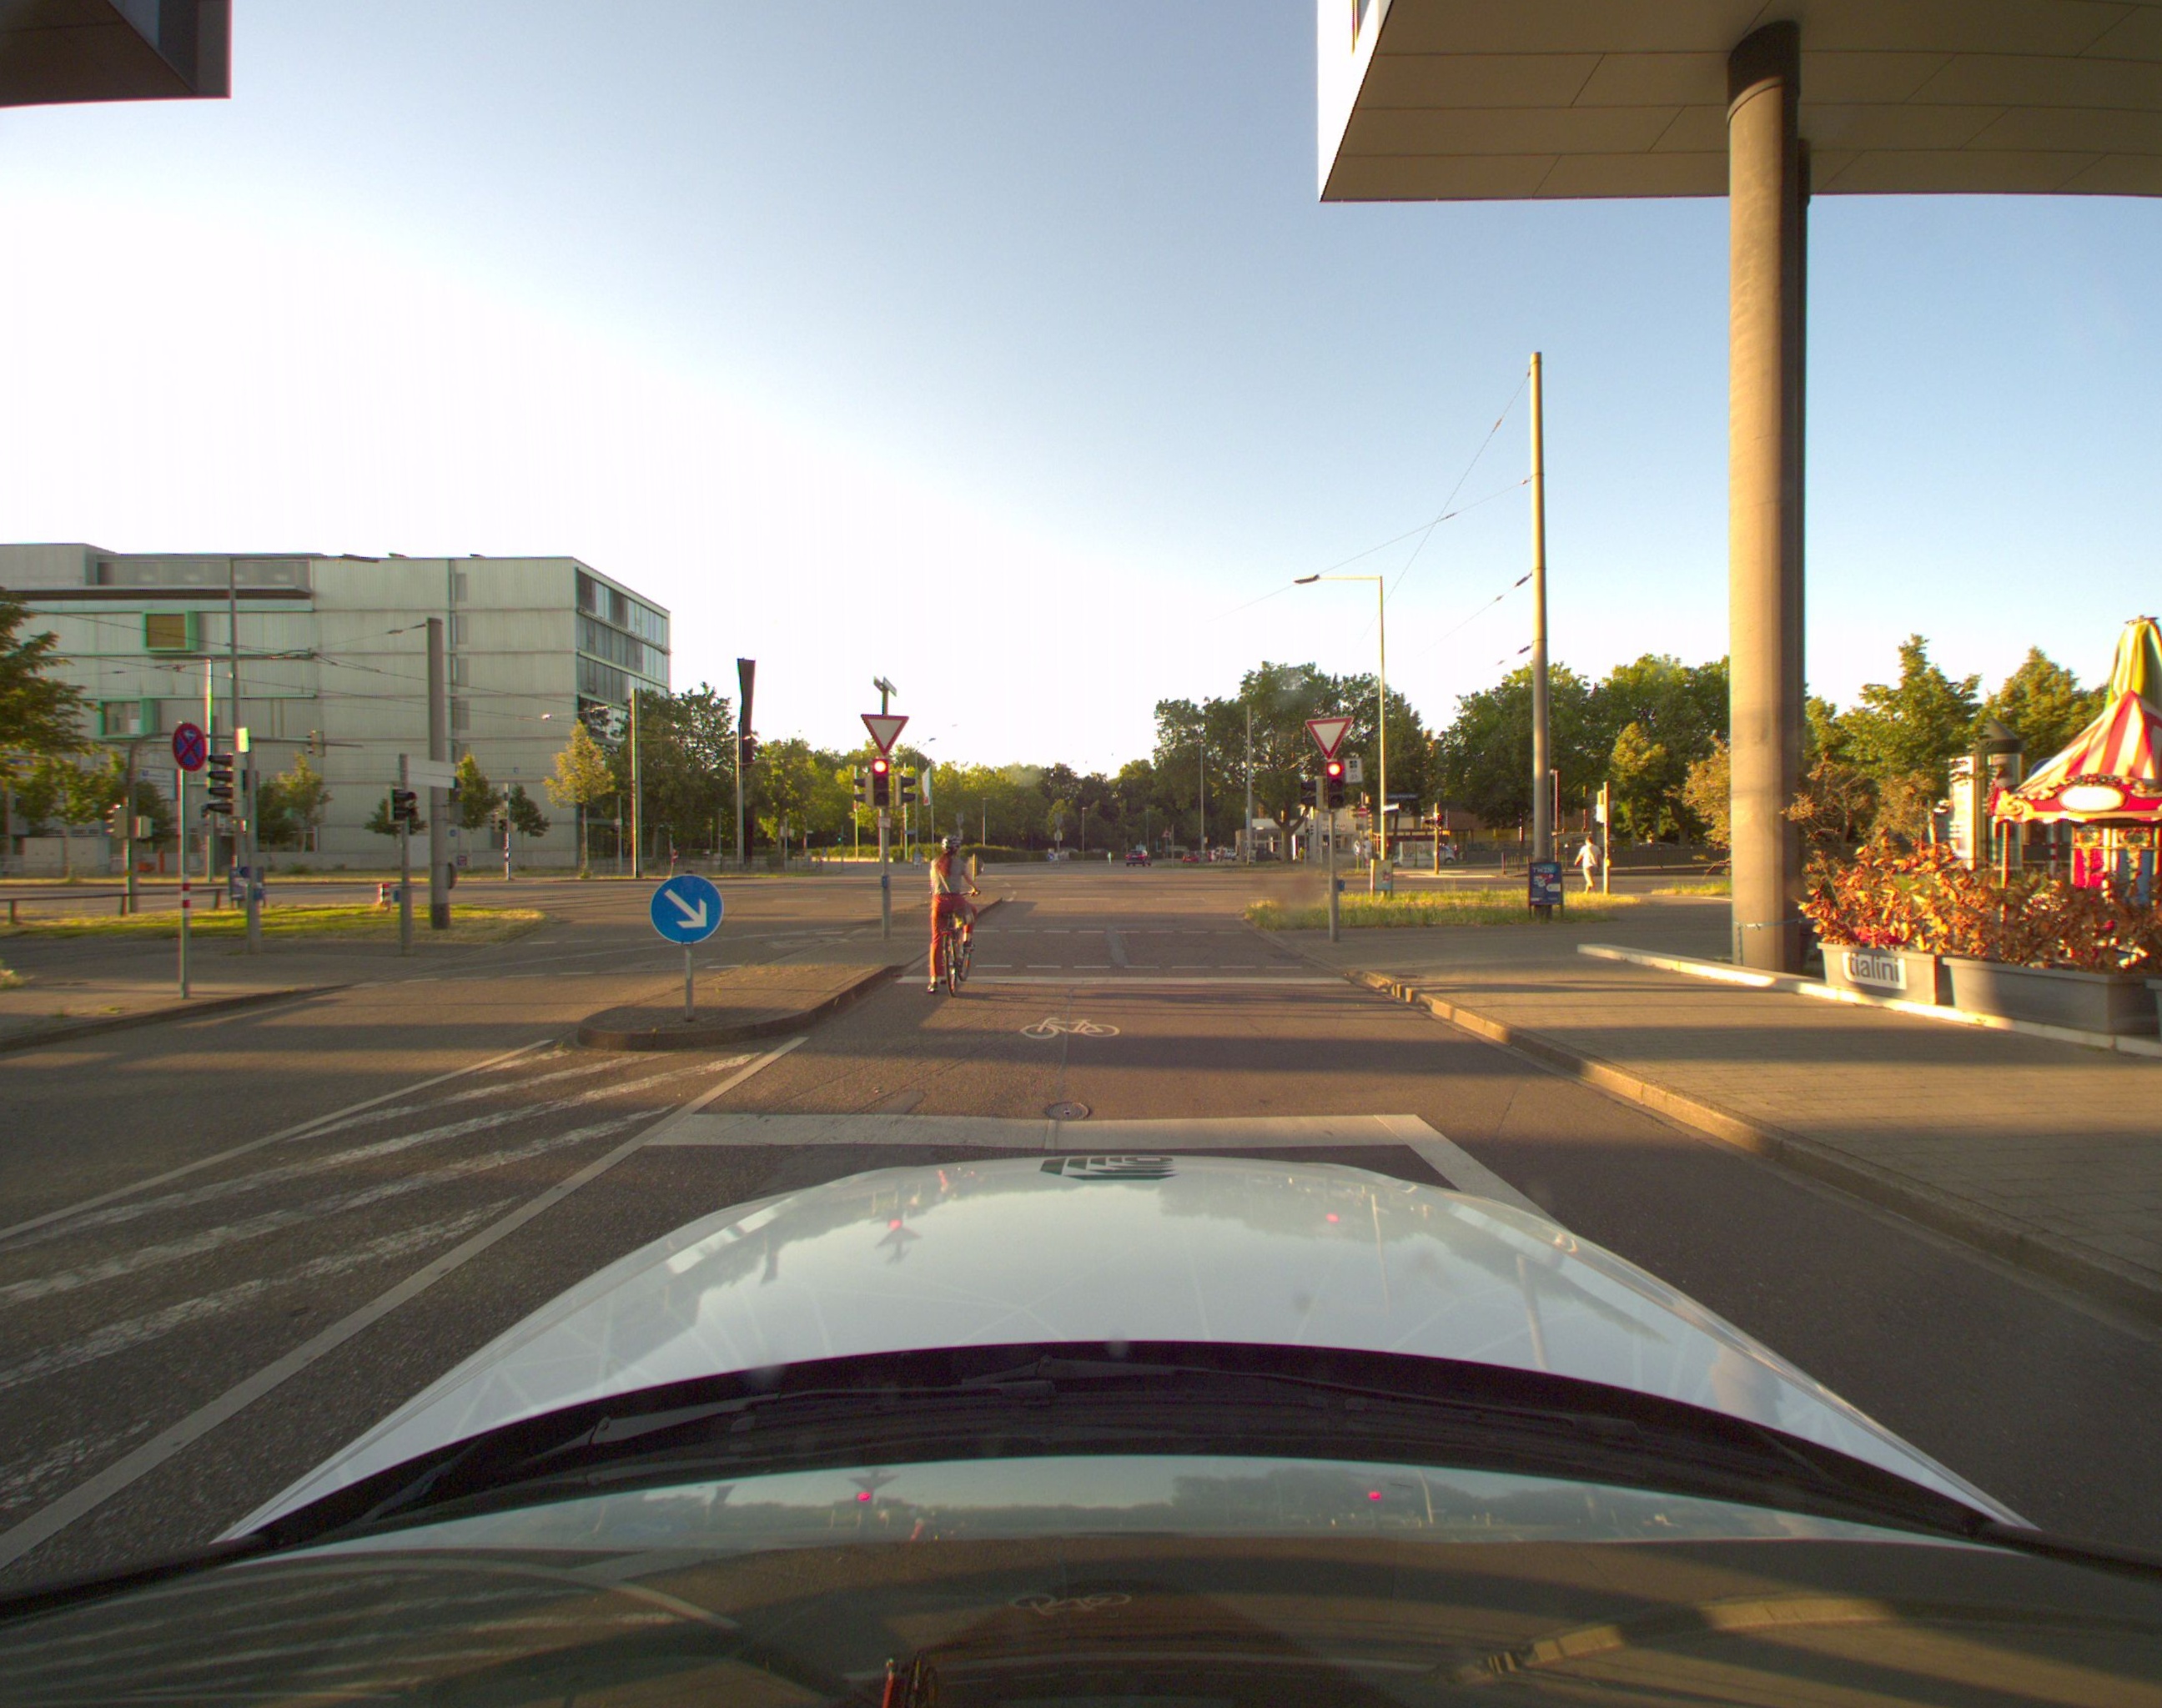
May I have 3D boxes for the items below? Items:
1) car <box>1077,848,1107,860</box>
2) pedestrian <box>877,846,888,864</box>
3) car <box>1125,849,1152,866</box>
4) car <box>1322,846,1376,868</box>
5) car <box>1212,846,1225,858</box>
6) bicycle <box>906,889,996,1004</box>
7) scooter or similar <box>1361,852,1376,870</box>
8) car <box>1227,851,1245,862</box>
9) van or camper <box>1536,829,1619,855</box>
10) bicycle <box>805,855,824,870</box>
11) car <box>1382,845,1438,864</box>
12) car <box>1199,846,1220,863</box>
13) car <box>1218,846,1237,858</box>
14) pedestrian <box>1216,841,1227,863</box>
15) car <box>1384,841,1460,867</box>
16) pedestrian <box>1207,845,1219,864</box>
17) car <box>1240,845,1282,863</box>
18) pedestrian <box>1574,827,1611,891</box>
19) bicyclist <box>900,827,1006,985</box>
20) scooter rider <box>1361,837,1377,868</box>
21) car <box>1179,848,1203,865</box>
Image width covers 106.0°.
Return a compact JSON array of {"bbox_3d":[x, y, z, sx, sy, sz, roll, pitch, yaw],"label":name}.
[{"bbox_3d":[1.483,-0.022,109.704,3.970,1.561,2.002,-1,0,3],"label":"car"},{"bbox_3d":[-19.877,0.113,81.596,0.898,1.754,0.715,-1,0,-24],"label":"pedestrian"},{"bbox_3d":[5.509,0.379,78.104,1.742,1.541,4.418,-1,-1,15],"label":"car"},{"bbox_3d":[23.656,0.236,72.009,4.211,1.846,2.002,-1,0,4],"label":"car"},{"bbox_3d":[22.073,-0.335,130.887,1.982,2.013,4.010,-1,0,9],"label":"car"},{"bbox_3d":[-1.446,0.993,9.420,0.632,1.068,2.123,-1,0,2],"label":"bicycle"},{"bbox_3d":[17.250,0.402,48.883,0.508,1.090,1.243,-1,0,2],"label":"scooter or similar"},{"bbox_3d":[21.929,0.348,115.152,1.899,1.602,4.020,0,0,20],"label":"car"},{"bbox_3d":[47.938,-1.105,78.762,6.530,2.410,2.268,-1,0,6],"label":"van or camper"},{"bbox_3d":[-20.749,0.624,63.369,0.697,1.136,2.392,-1,0,-1],"label":"bicycle"},{"bbox_3d":[28.998,0.039,71.940,4.211,1.577,2.002,-1,0,4],"label":"car"},{"bbox_3d":[16.252,0.081,103.138,1.899,2.047,4.020,0,0,20],"label":"car"},{"bbox_3d":[24.385,-0.316,135.401,1.975,2.013,4.024,-1,0,27],"label":"car"},{"bbox_3d":[11.690,-0.161,67.704,0.712,1.754,0.903,-1,0,26],"label":"pedestrian"},{"bbox_3d":[23.656,-0.024,56.534,4.523,1.728,1.860,-1,0,-3],"label":"car"},{"bbox_3d":[11.019,0.047,68.049,0.712,1.639,0.903,-1,0,26],"label":"pedestrian"},{"bbox_3d":[19.583,0.003,88.697,4.354,1.835,1.952,-1,0,6],"label":"car"},{"bbox_3d":[14.701,0.144,23.429,0.755,1.791,0.806,0,0,20],"label":"pedestrian"},{"bbox_3d":[-1.453,0.568,9.436,1.028,1.717,0.996,-1,0,1],"label":"bicyclist"},{"bbox_3d":[17.274,-0.096,48.845,0.699,1.855,0.669,0,-1,1],"label":"scooter rider"},{"bbox_3d":[12.920,0.257,95.597,1.852,1.874,3.896,0,0,23],"label":"car"}]
